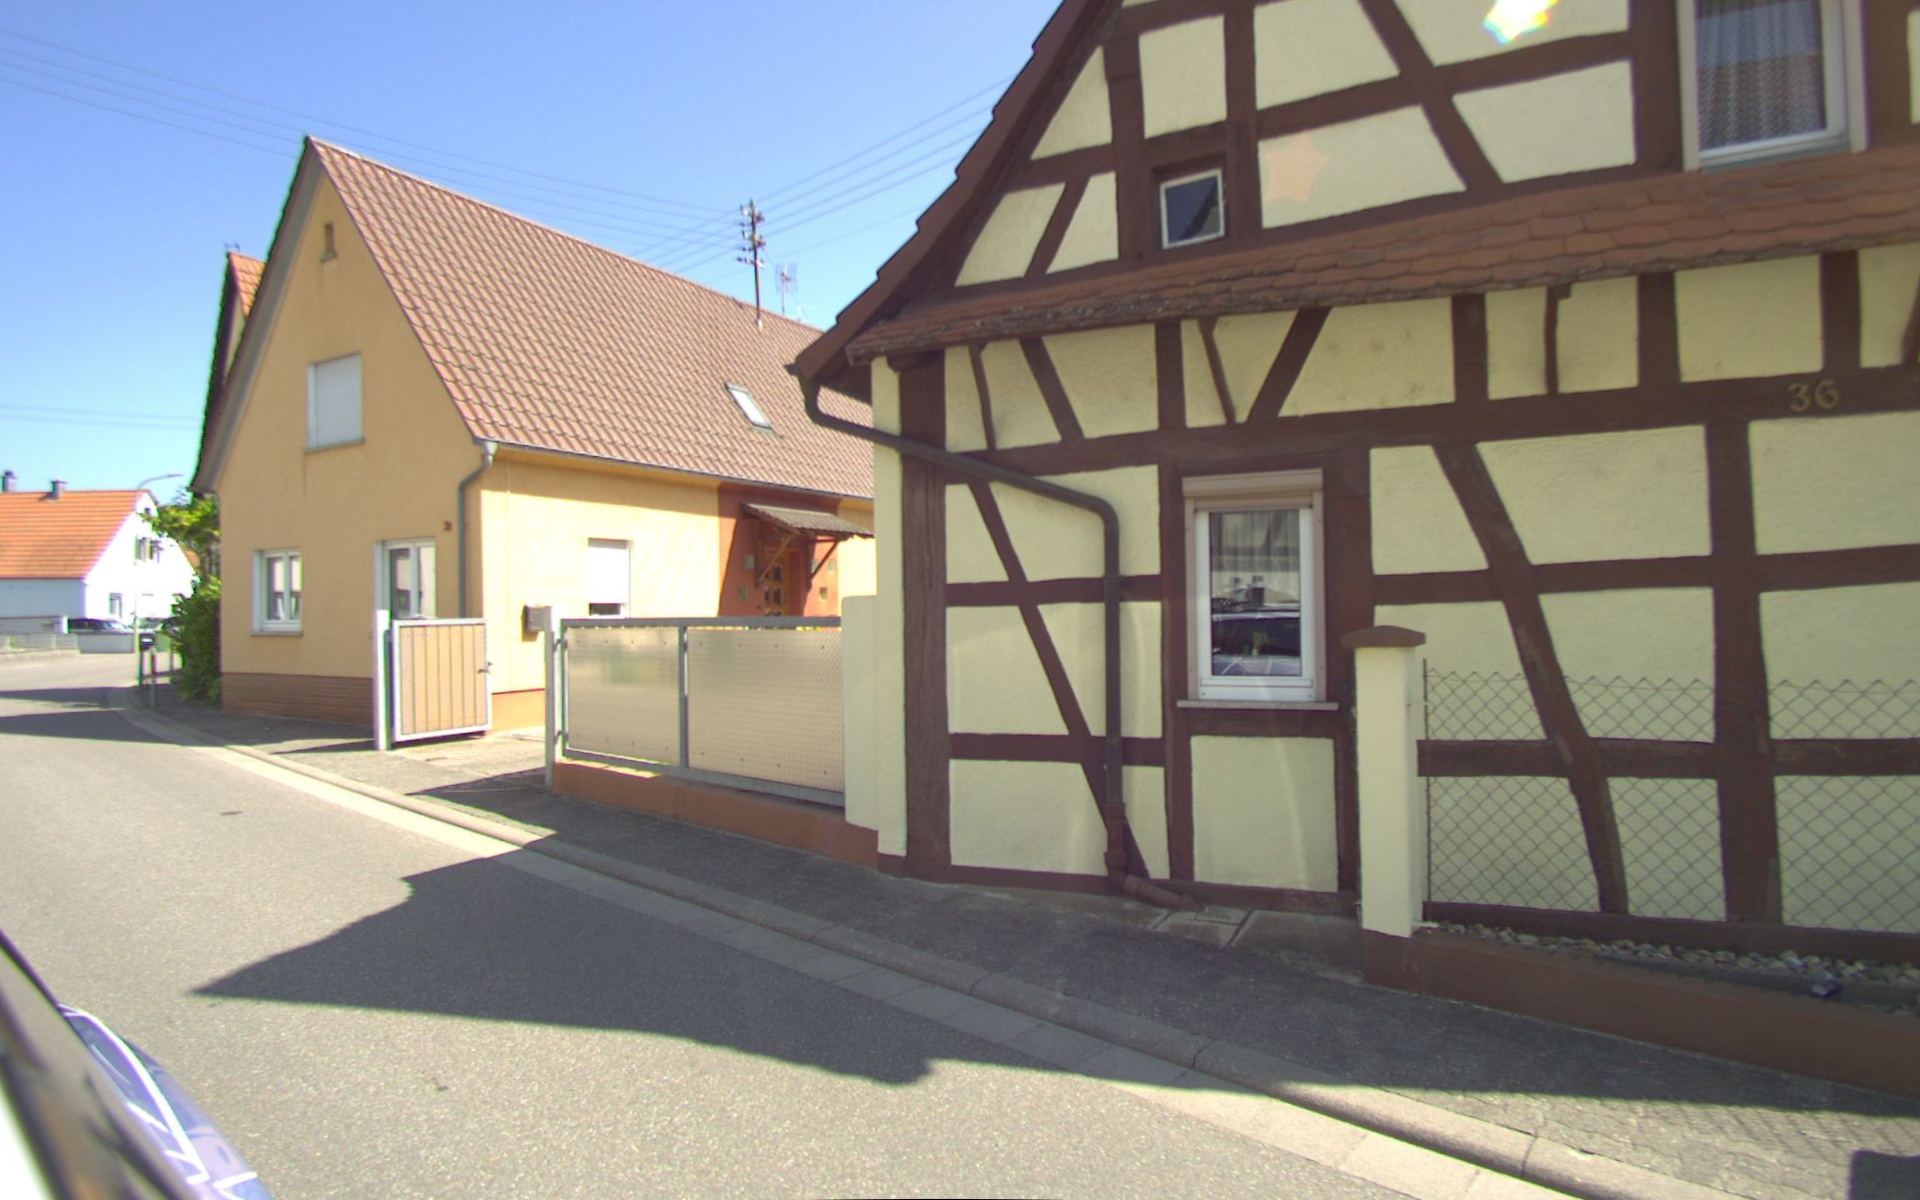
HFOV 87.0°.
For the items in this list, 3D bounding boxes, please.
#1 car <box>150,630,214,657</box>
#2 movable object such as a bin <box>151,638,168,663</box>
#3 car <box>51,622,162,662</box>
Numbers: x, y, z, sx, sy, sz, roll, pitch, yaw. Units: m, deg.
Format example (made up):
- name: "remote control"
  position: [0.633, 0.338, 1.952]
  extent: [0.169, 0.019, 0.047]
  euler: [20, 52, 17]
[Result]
- name: "car"
  position: [-41.653, 2.313, 54.235]
  extent: [1.499, 1.384, 3.608]
  euler: [0, -1, -16]
- name: "movable object such as a bin"
  position: [-37.412, 2.356, 47.308]
  extent: [0.432, 1.152, 0.563]
  euler: [-2, -2, 40]
- name: "car"
  position: [-41.073, 2.012, 48.767]
  extent: [3.944, 1.859, 1.702]
  euler: [-1, -1, 1]
